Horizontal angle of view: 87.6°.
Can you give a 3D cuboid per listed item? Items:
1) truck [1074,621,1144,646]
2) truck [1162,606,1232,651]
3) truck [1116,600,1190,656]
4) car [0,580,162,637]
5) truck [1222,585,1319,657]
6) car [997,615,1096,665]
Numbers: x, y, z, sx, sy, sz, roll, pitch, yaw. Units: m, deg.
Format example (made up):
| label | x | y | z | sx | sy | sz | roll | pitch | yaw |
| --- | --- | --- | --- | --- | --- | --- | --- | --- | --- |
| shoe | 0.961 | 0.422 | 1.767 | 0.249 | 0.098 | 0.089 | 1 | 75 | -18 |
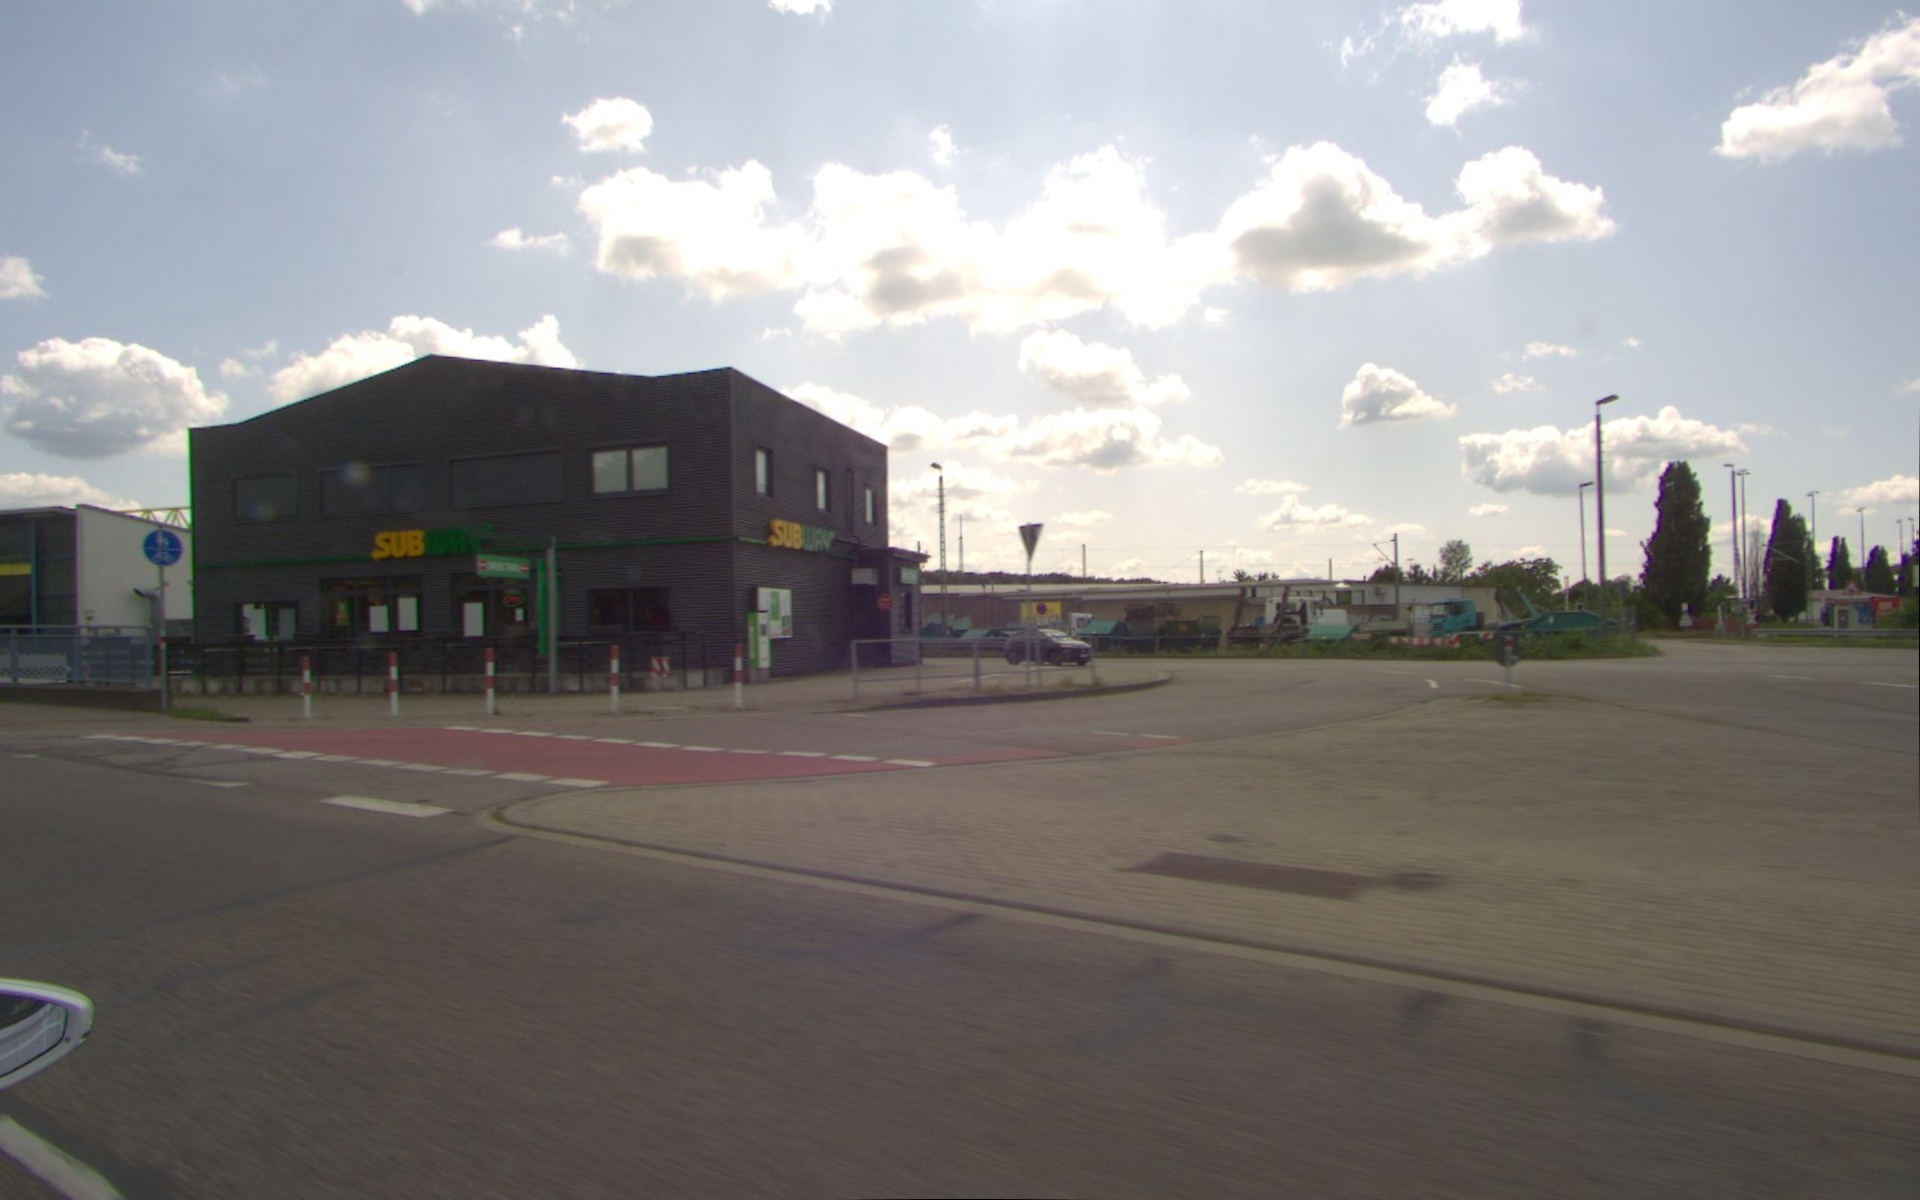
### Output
| label | x | y | z | sx | sy | sz | roll | pitch | yaw |
| --- | --- | --- | --- | --- | --- | --- | --- | --- | --- |
| truck | 7.828 | 1.786 | 52.425 | 1.856 | 1.235 | 4.313 | -2 | -3 | 36 |
| truck | 11.857 | 1.465 | 49.890 | 1.952 | 2.110 | 4.314 | -2 | -3 | 35 |
| truck | 9.951 | 1.488 | 51.495 | 2.091 | 2.747 | 4.312 | -2 | -3 | 36 |
| car | -35.046 | 0.384 | 39.205 | 2.191 | 2.039 | 5.818 | -1 | -2 | 13 |
| truck | 15.325 | 1.129 | 49.188 | 2.677 | 3.296 | 5.896 | -2 | -4 | 37 |
| car | 3.629 | 1.658 | 42.306 | 3.832 | 2.040 | 1.742 | -1 | -1 | 37 |
